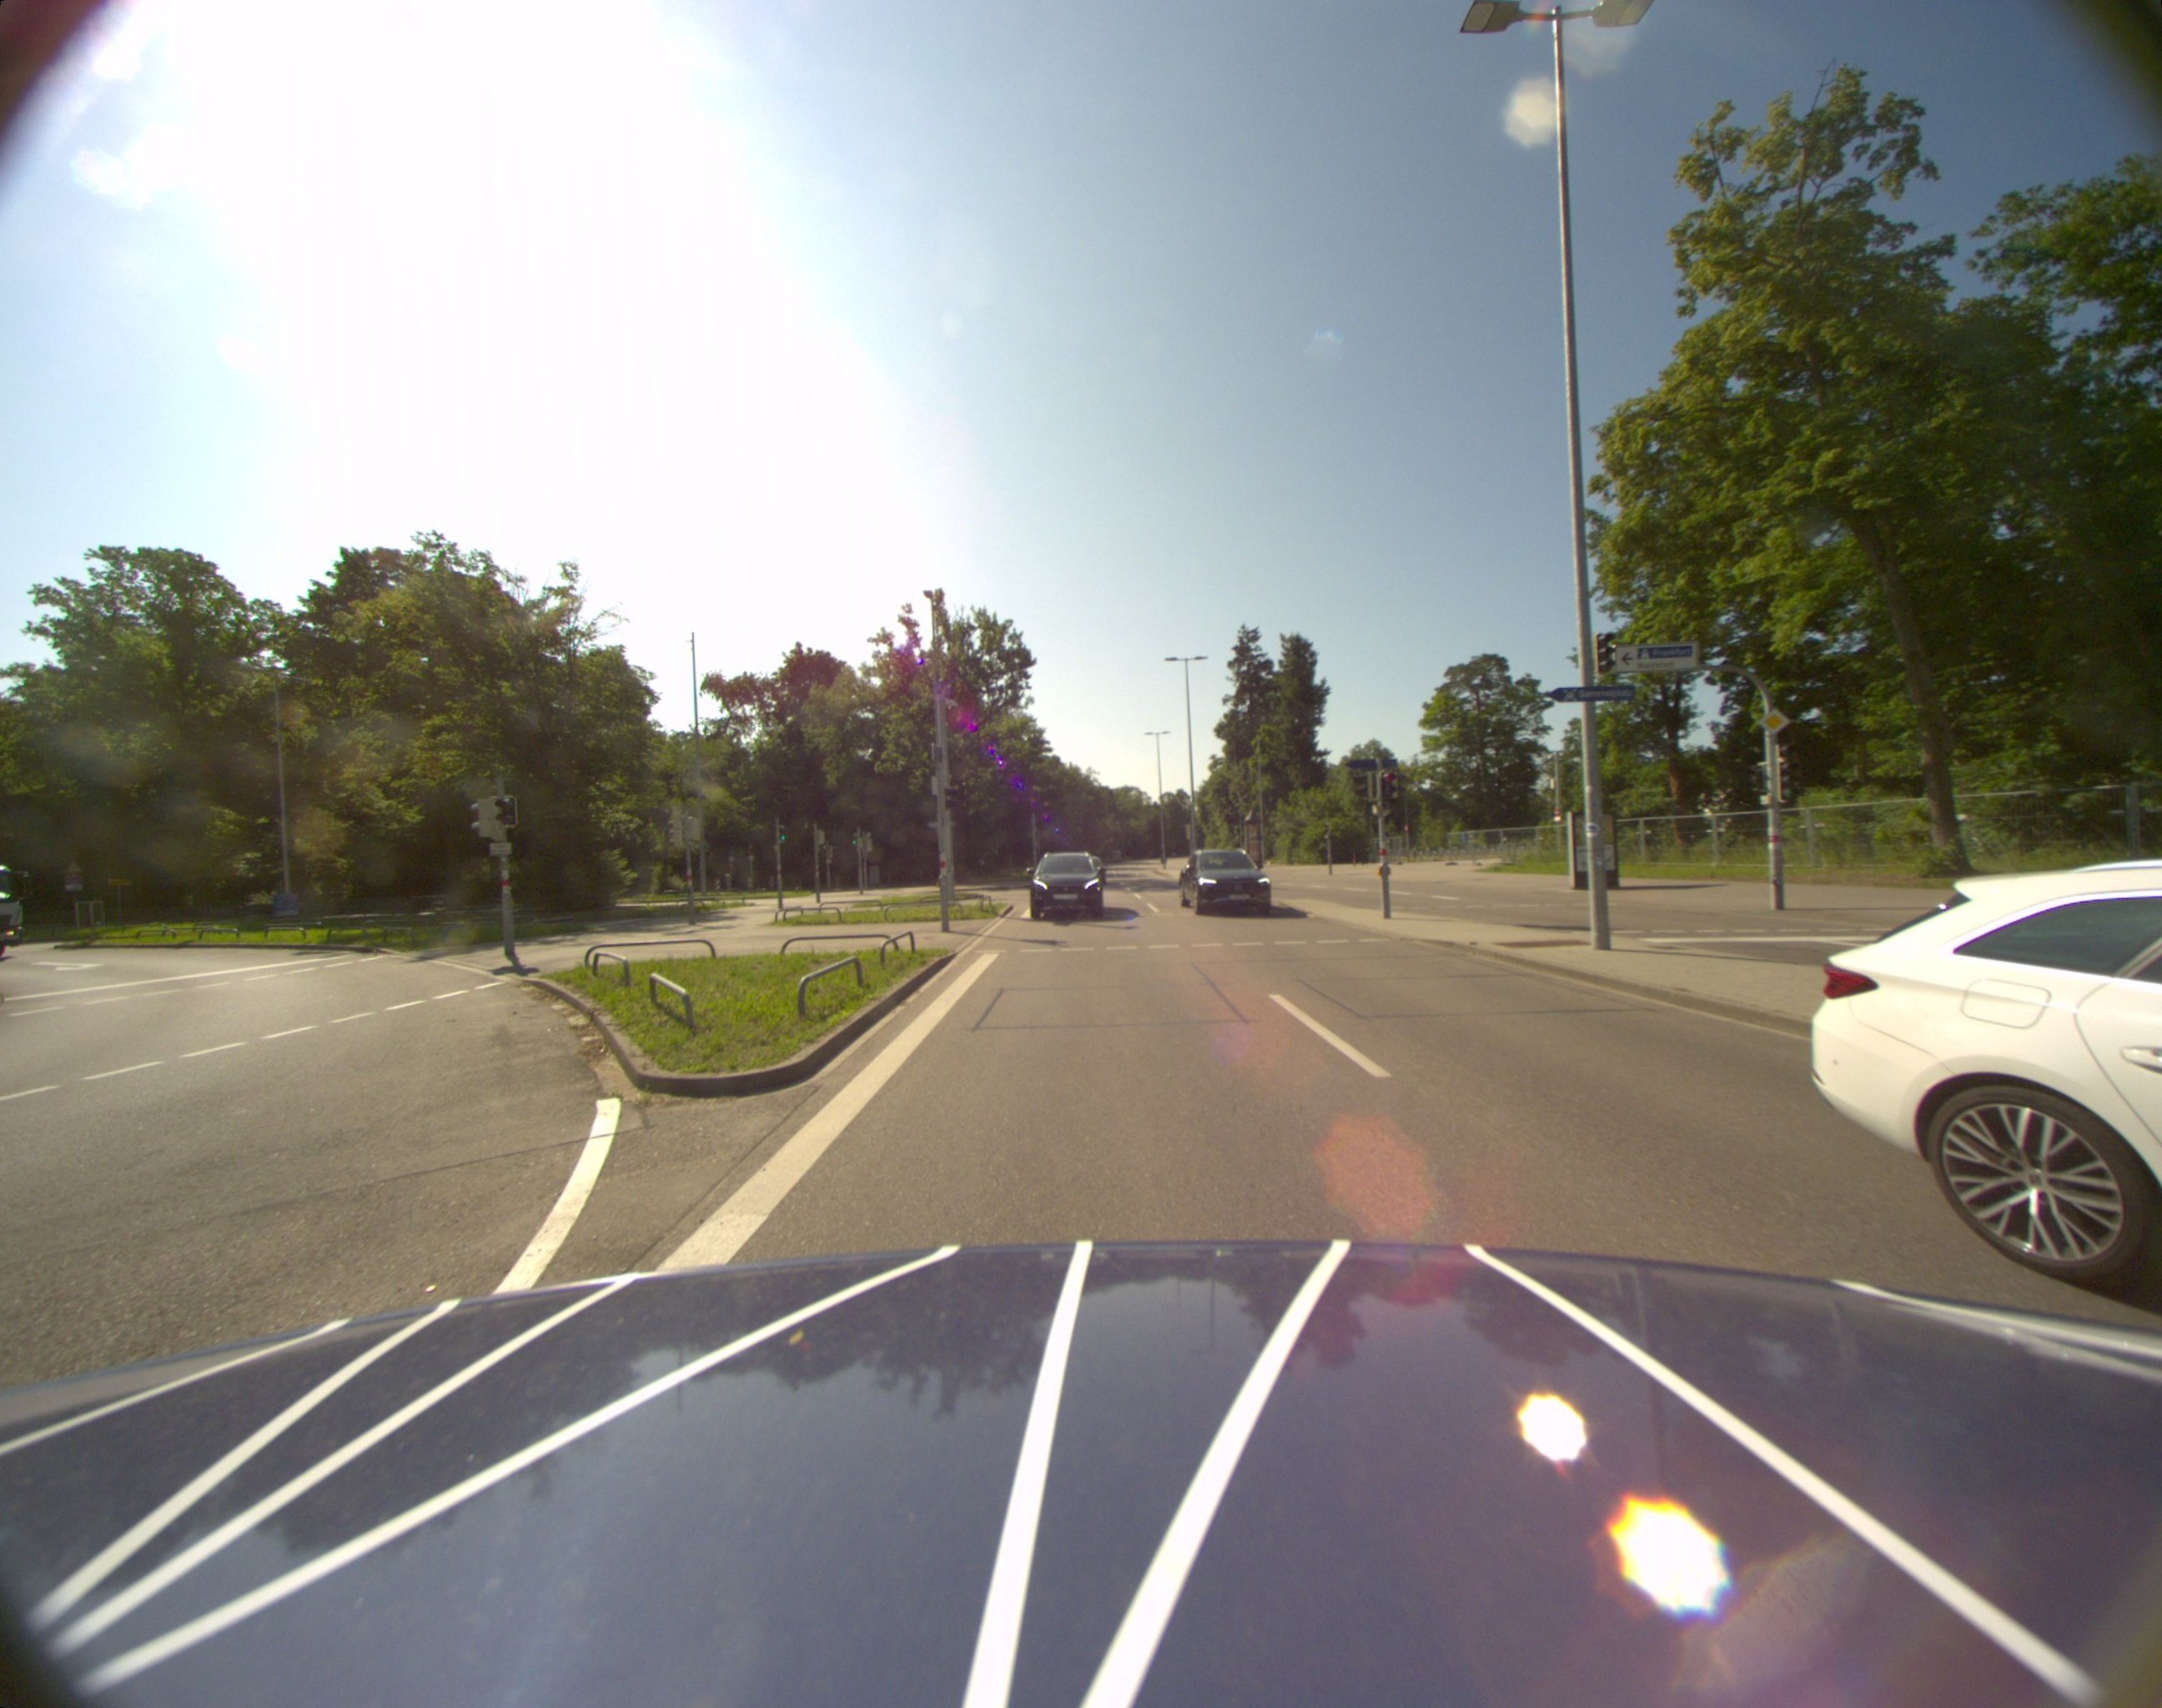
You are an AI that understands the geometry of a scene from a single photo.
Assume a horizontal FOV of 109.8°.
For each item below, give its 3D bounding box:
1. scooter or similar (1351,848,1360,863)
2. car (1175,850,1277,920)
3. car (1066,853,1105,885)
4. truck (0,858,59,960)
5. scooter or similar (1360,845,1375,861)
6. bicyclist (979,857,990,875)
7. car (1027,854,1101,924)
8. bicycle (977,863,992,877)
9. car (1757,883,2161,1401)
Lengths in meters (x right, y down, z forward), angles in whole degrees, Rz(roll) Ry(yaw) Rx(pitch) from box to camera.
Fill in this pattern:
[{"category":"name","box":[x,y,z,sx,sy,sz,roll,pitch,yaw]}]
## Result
[{"category":"scooter or similar","box":[21.102,0.096,58.447,0.395,1.139,1.197,-2,0,7]},{"category":"car","box":[3.681,0.718,19.984,1.809,1.587,4.272,-1,1,0]},{"category":"car","box":[0.224,0.733,40.008,1.933,1.499,4.000,-2,0,0]},{"category":"truck","box":[-32.004,1.623,20.711,6.192,2.702,2.683,-3,1,14]},{"category":"scooter or similar","box":[22.085,-0.075,58.505,1.082,1.215,0.395,-3,1,-23]},{"category":"bicyclist","box":[-8.803,1.111,69.315,0.725,1.629,1.058,-2,1,10]},{"category":"car","box":[-0.342,0.829,20.228,1.702,1.581,4.319,-2,0,2]},{"category":"bicycle","box":[-8.773,1.480,69.372,0.725,1.192,2.102,-2,0,10]},{"category":"car","box":[3.994,0.869,1.170,1.729,1.418,4.720,-1,0,1]}]
